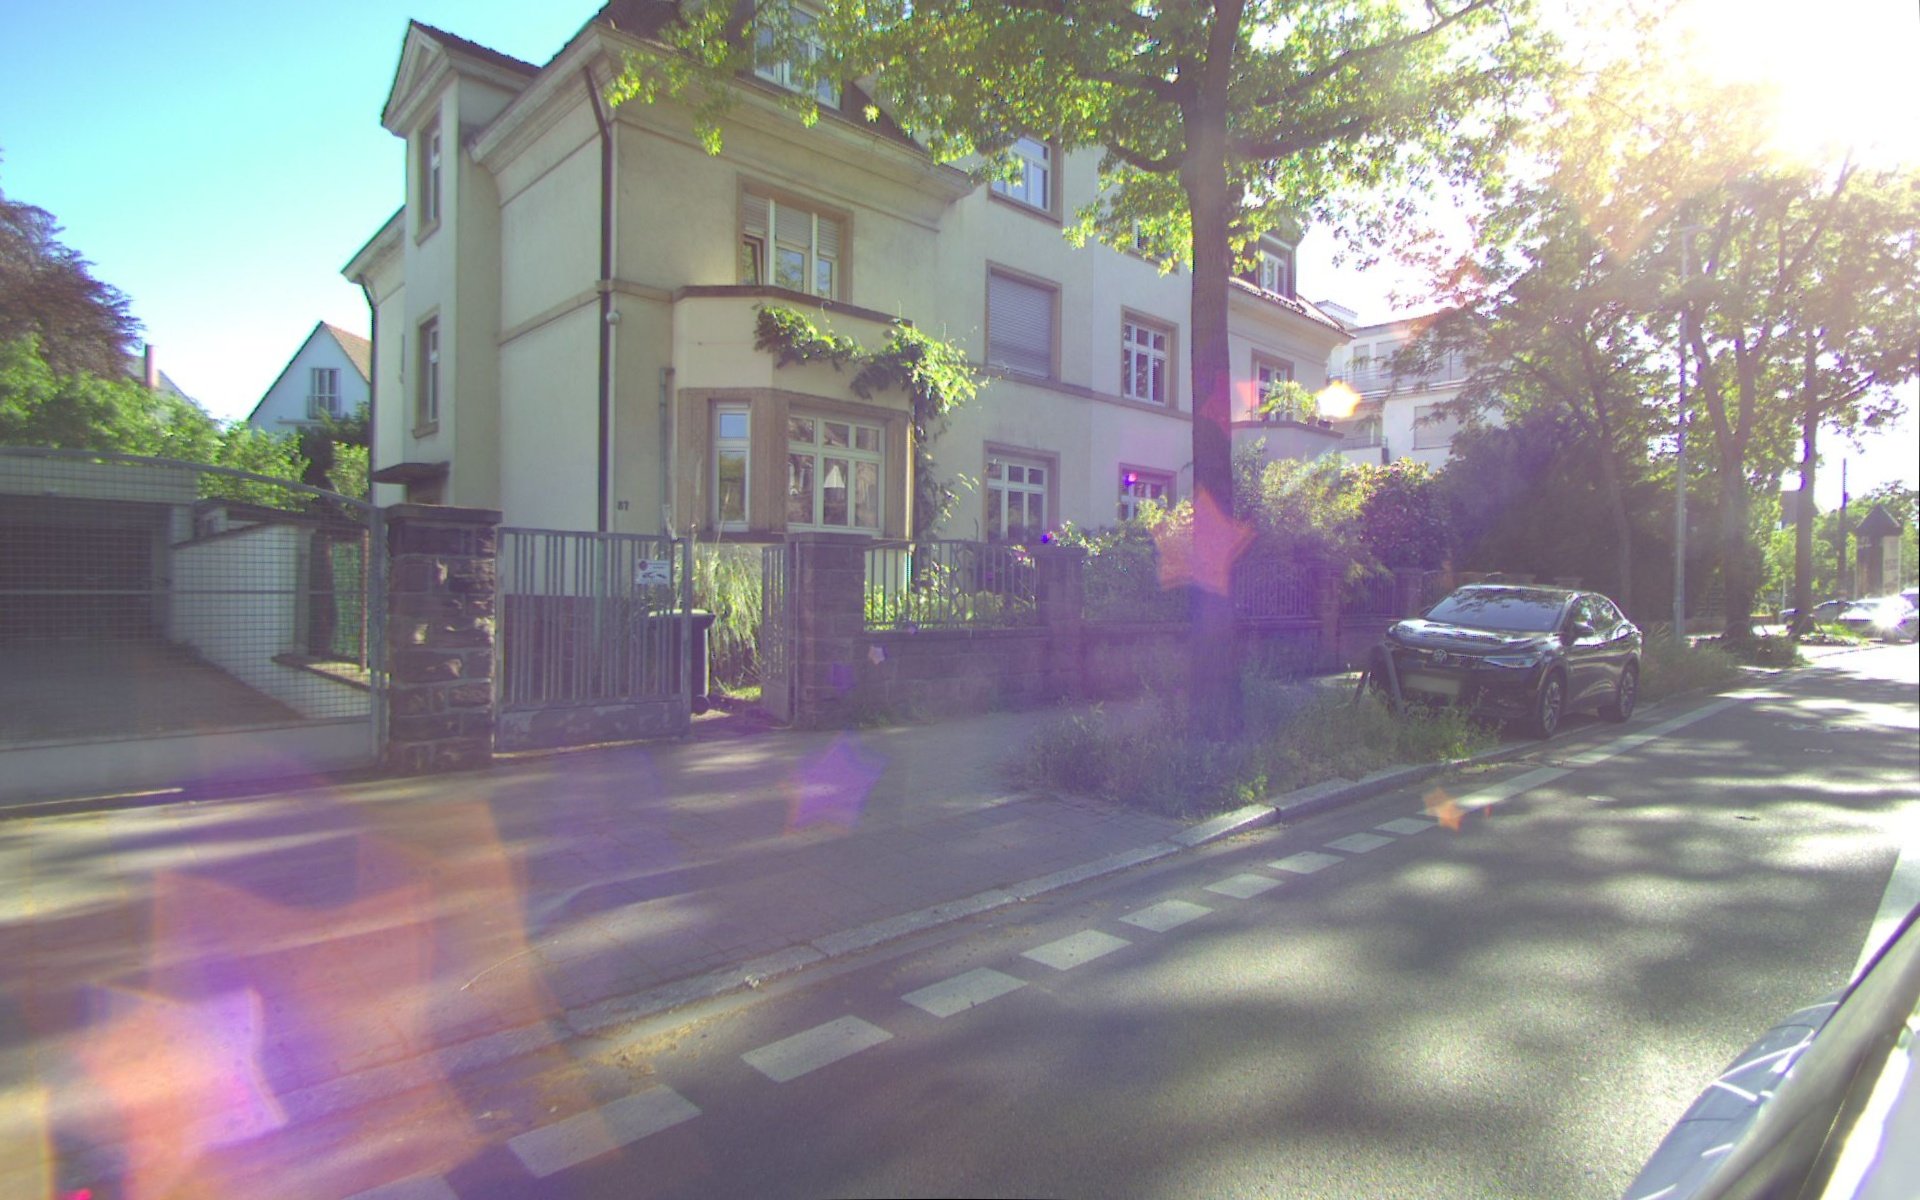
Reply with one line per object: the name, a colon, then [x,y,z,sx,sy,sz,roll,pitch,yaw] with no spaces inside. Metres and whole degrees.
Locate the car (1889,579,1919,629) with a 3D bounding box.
car: [36.675,0.130,37.859,4.580,1.808,1.903,0,1,-35]

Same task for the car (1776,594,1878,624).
car: [46.071,0.458,53.842,1.784,1.459,3.990,0,1,-44]

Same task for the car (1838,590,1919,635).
car: [31.515,0.383,34.277,4.181,1.427,1.901,0,1,-38]

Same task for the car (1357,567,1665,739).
car: [6.712,0.497,12.141,4.186,1.619,1.917,0,4,-42]

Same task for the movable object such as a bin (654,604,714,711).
movable object such as a bin: [-2.920,0.585,10.676,0.551,1.062,0.676,0,0,-20]
